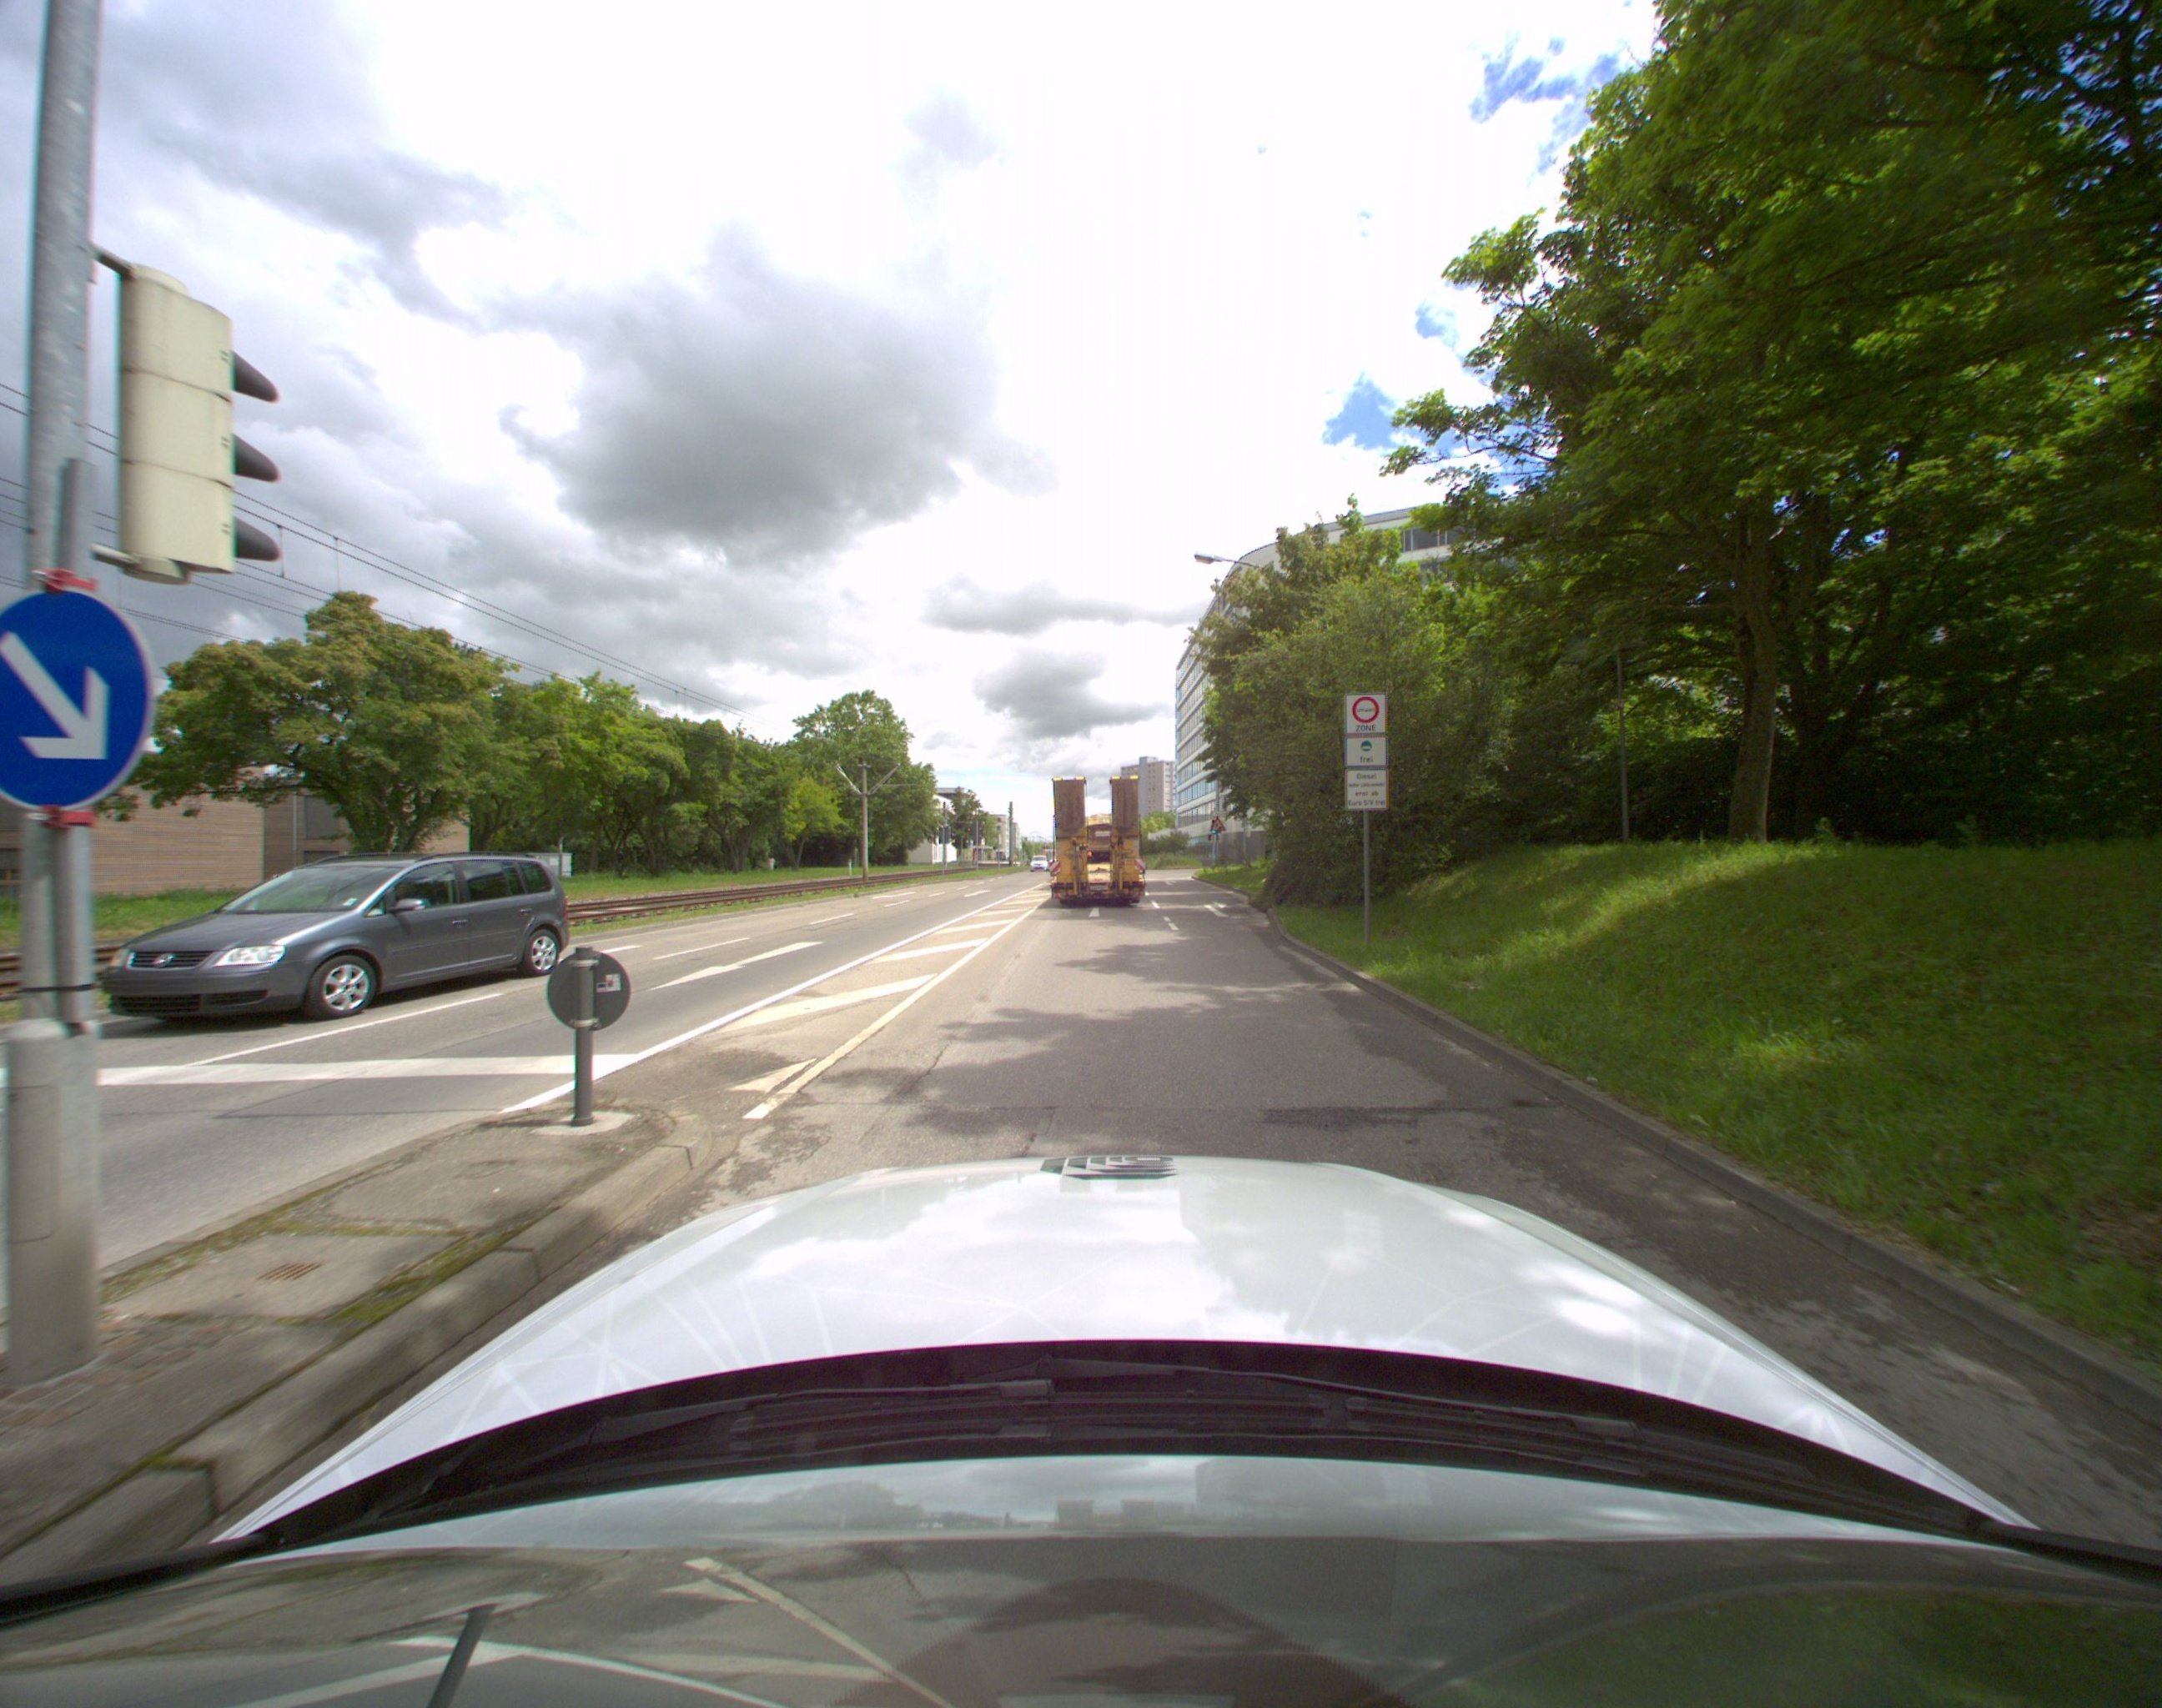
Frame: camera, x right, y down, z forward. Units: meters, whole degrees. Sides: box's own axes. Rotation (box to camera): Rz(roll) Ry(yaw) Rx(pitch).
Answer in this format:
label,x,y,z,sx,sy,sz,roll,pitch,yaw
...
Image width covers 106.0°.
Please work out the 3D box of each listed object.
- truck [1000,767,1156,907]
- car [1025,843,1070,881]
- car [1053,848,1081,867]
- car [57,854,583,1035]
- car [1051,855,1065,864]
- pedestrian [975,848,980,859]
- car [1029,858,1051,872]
label,x,y,z,sx,sy,sz,roll,pitch,yaw
truck,0.472,-0.481,27.767,3.297,3.651,12.593,1,0,9
car,-1.798,0.409,44.782,1.985,1.925,4.004,2,0,4
car,-1.123,0.271,67.861,1.985,1.420,4.004,2,0,4
car,-7.987,0.795,9.288,1.776,1.570,4.348,0,0,3
car,-3.226,0.762,117.120,1.777,1.271,4.346,0,0,1
pedestrian,-18.914,-0.105,148.578,0.649,2.013,0.655,2,0,8
car,-3.974,1.085,79.610,1.776,1.271,4.348,0,0,3
